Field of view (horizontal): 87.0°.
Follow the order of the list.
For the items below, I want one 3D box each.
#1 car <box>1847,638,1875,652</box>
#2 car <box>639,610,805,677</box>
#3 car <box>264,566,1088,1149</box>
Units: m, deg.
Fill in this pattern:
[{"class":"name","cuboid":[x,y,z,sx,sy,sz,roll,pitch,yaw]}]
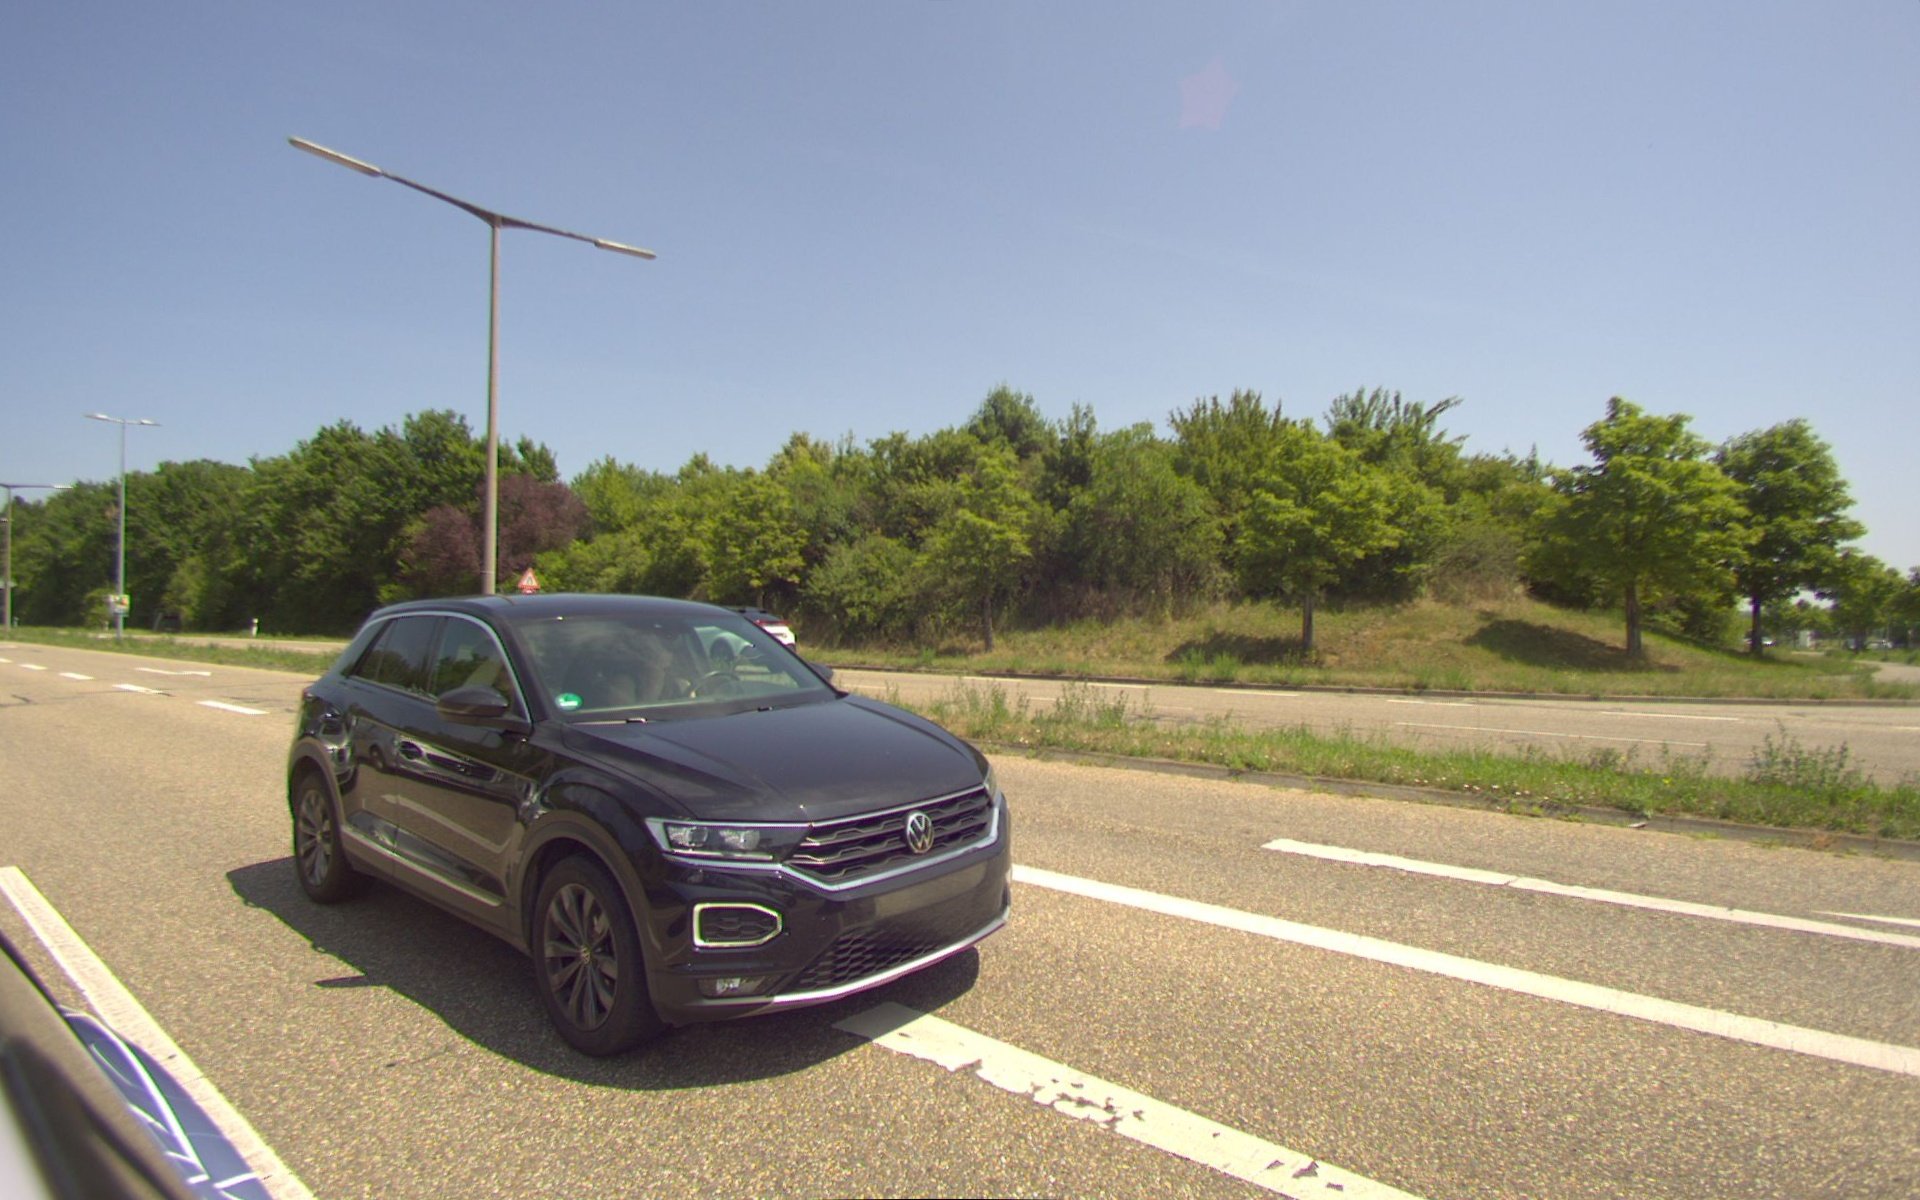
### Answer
[{"class":"car","cuboid":[91.275,4.537,102.502,1.630,1.371,3.952,-1,-1,35]},{"class":"car","cuboid":[-5.784,0.991,24.354,4.166,1.467,1.804,-1,-2,41]},{"class":"car","cuboid":[-1.551,0.658,4.599,3.968,1.523,1.716,0,1,41]}]
